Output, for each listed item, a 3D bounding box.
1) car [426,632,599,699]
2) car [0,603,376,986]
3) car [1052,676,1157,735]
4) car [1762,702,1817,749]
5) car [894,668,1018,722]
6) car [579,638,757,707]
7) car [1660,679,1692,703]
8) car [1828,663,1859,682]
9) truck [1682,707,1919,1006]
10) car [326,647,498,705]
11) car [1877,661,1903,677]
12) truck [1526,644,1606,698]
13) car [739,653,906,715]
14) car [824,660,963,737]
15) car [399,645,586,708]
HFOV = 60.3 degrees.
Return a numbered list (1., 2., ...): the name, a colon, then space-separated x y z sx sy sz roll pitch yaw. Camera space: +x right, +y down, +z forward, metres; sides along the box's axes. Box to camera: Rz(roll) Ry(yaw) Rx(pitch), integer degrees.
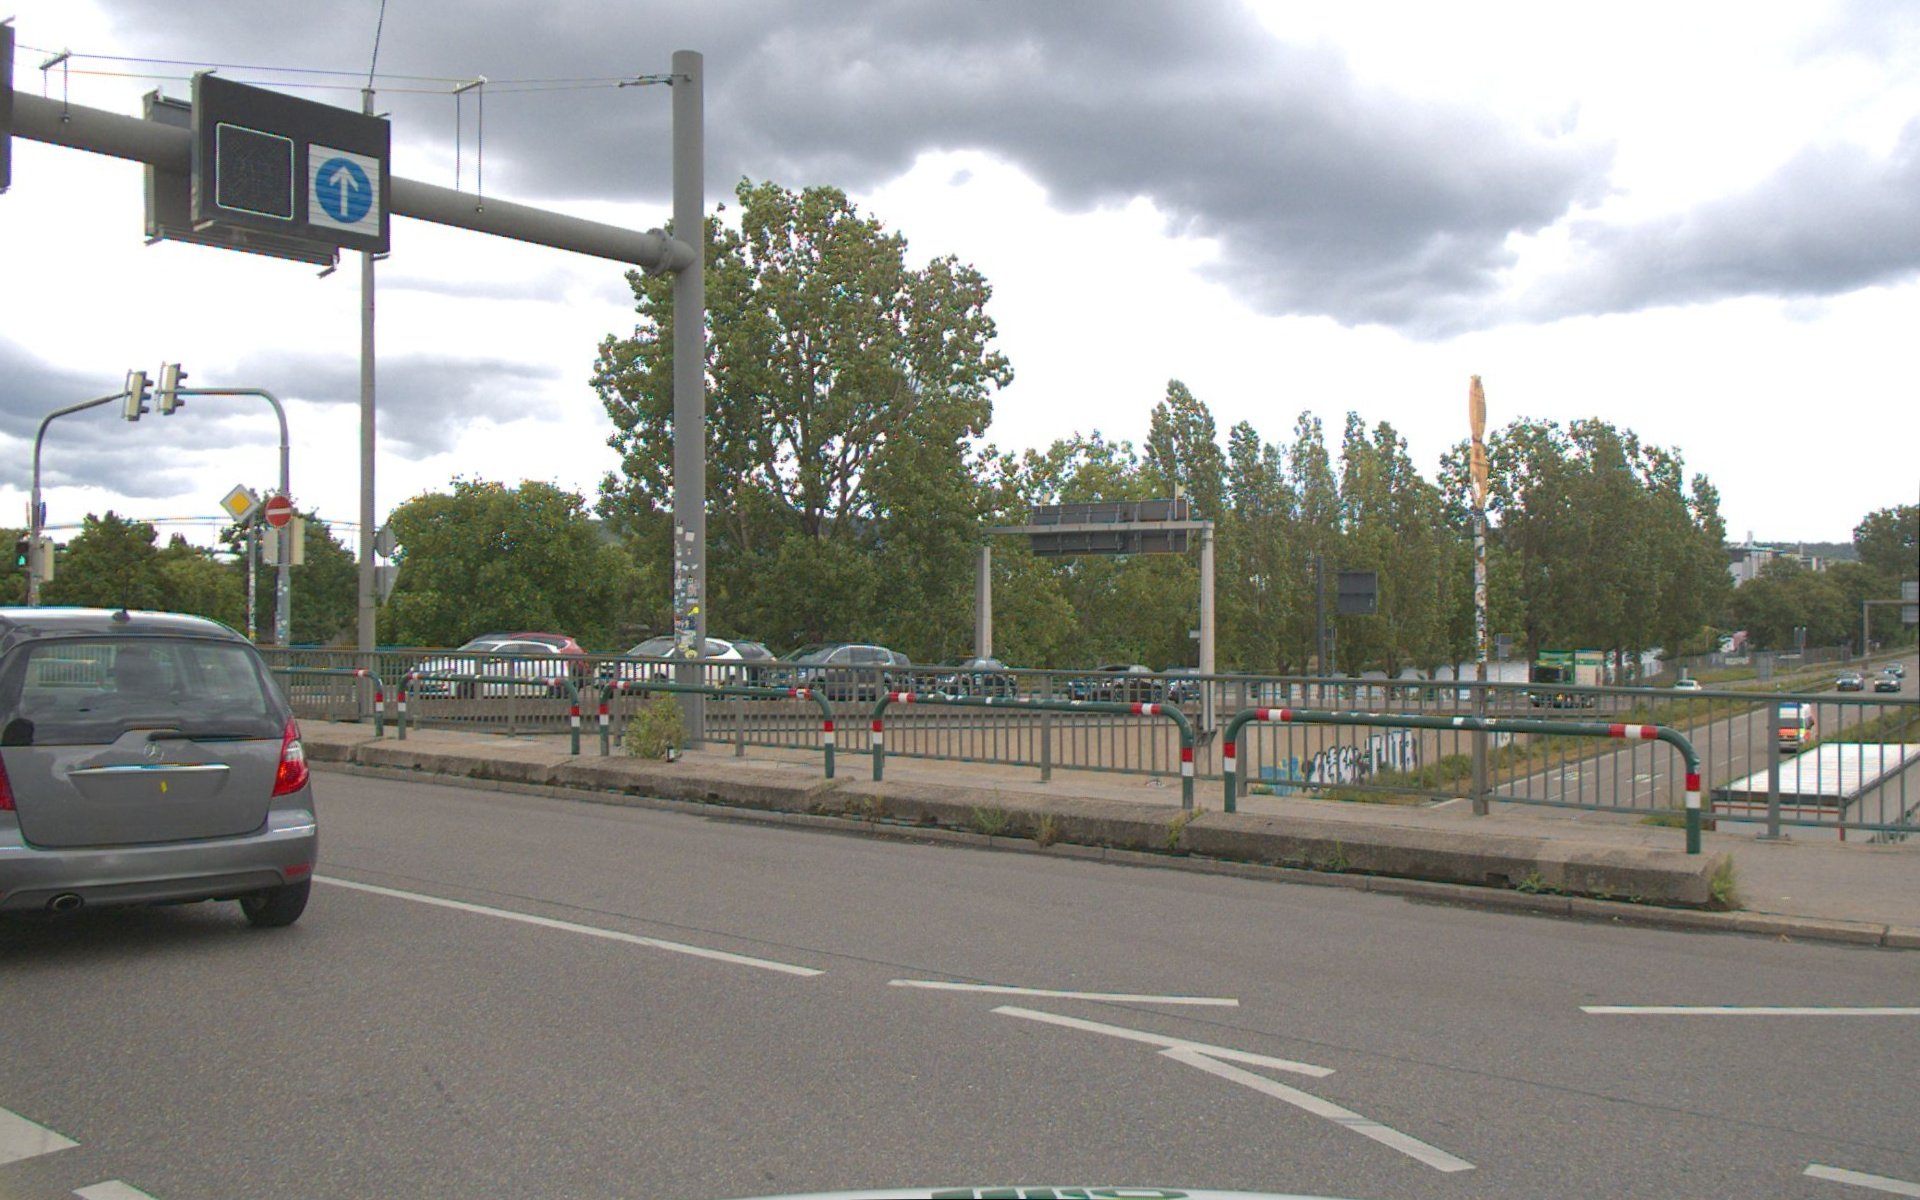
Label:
1. car: -11.032 1.641 40.998 1.662 1.567 3.992 -2 -4 36
2. car: -4.781 0.840 8.713 3.806 1.578 1.738 -1 -2 45
3. car: 5.261 3.771 59.843 1.961 1.646 3.984 0 3 38
4. car: 45.940 6.912 91.577 1.960 2.412 4.571 -2 -3 36
5. car: -0.079 3.015 52.570 1.961 1.646 3.982 -2 -4 37
6. car: -7.399 1.873 42.312 1.961 1.648 4.323 -3 -4 38
7. car: 62.938 7.989 145.345 1.958 1.698 3.761 0 2 33
8. car: 81.259 6.658 152.050 1.960 1.737 4.063 -2 -3 36
9. truck: 20.410 5.432 38.739 3.518 4.564 13.129 0 2 37
10. car: -14.404 2.015 43.680 1.661 1.446 4.137 -2 -4 36
11. car: 101.148 7.488 179.865 1.960 1.737 4.063 -2 -3 36
12. truck: 43.220 4.976 117.806 2.728 3.571 9.217 0 -1 37
13. car: -3.827 2.387 46.861 1.961 1.648 4.940 -2 -4 37
14. car: -2.148 3.185 54.447 2.170 2.048 4.527 0 2 37
15. car: -10.482 1.735 37.285 1.757 1.336 3.745 -3 -4 39
